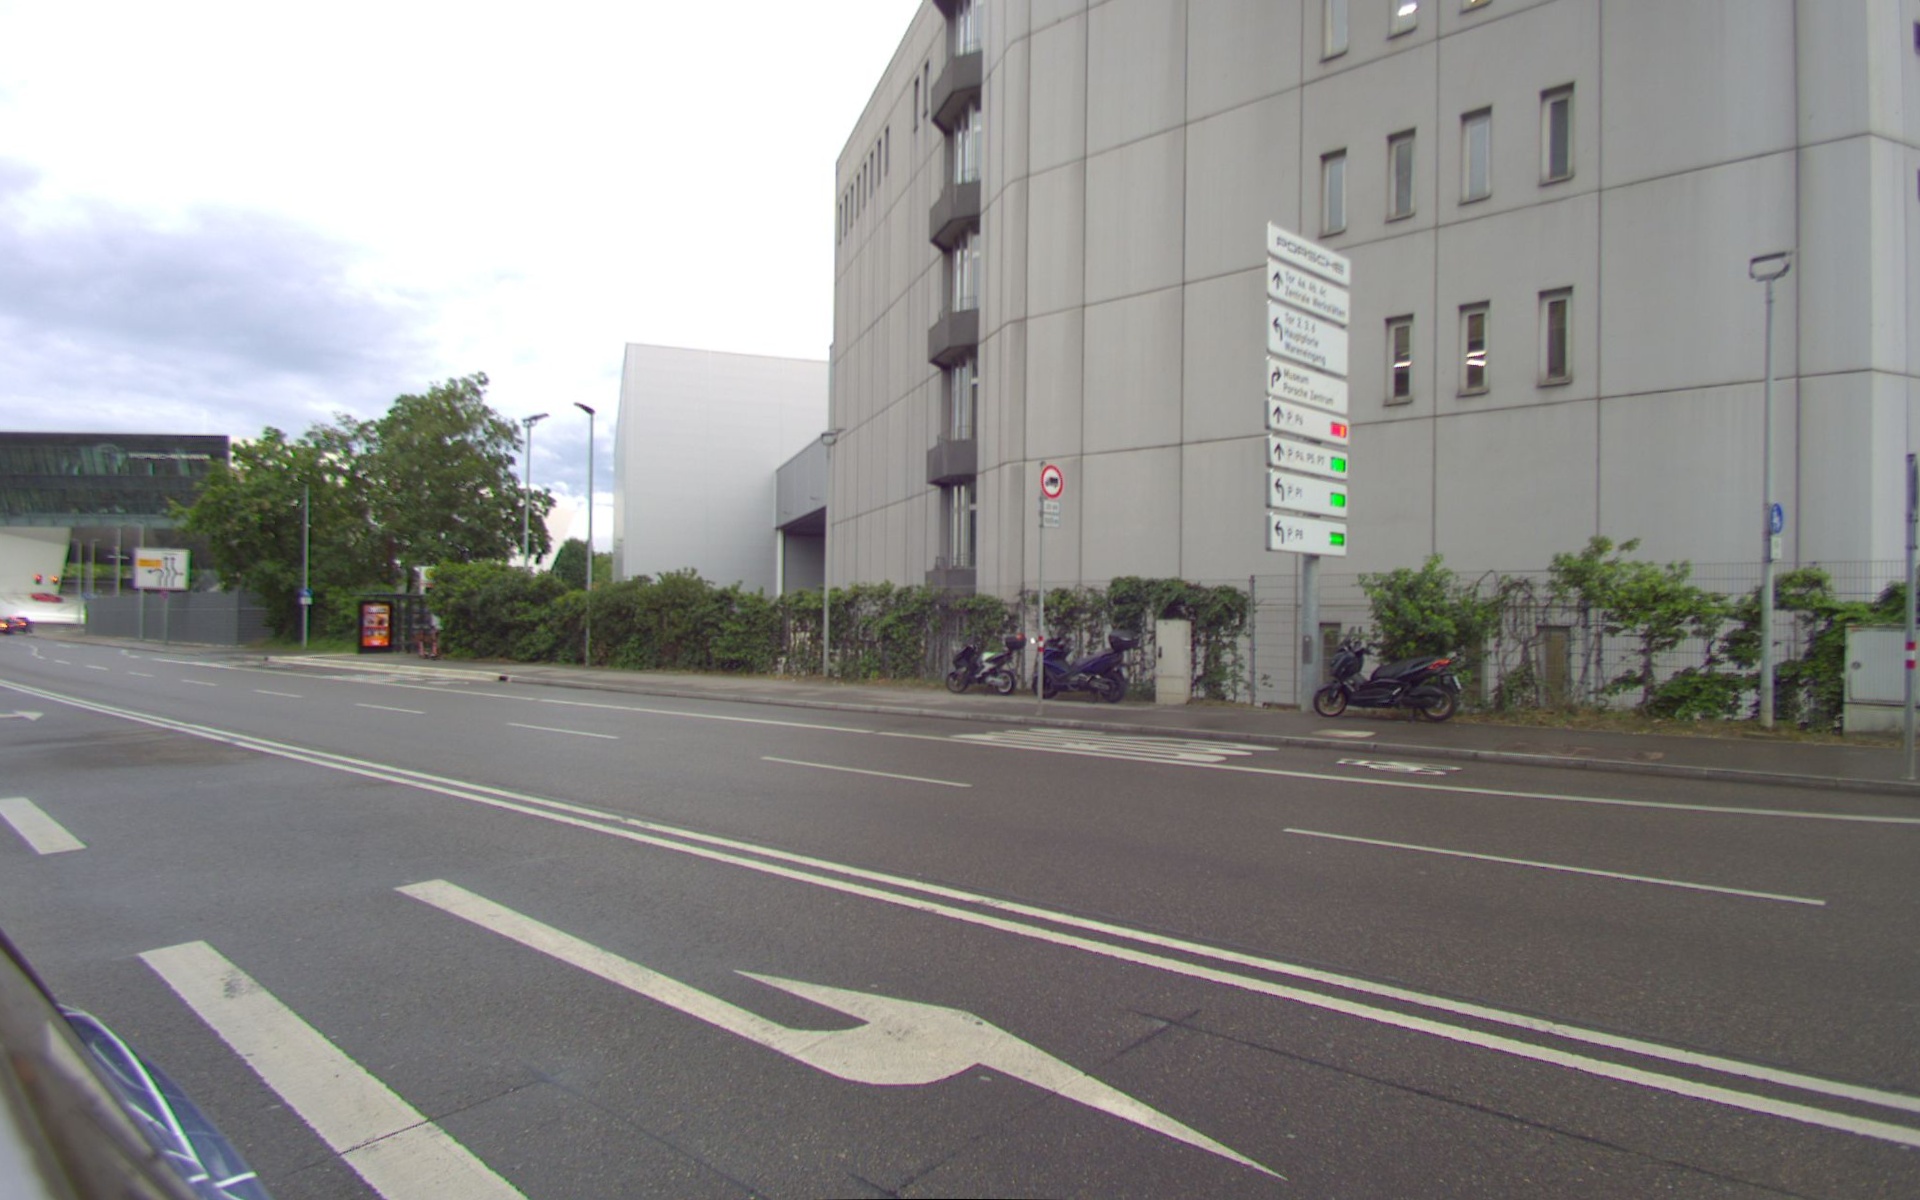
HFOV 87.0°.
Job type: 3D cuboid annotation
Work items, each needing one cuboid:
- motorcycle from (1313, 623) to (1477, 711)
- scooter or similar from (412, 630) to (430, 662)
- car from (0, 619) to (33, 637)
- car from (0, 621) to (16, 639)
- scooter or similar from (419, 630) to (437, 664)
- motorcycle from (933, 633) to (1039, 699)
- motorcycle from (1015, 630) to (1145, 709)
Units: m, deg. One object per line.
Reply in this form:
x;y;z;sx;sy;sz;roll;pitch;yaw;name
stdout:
6.559;0.972;15.336;2.156;1.257;0.777;-1;-2;40;motorcycle
-20.166;1.711;37.861;0.383;1.189;1.253;1;-2;-36;scooter or similar
-88.625;2.632;94.855;1.834;1.663;3.799;1;-2;-30;car
-84.785;2.604;88.690;2.233;1.488;4.059;1;-1;-32;car
-19.323;1.695;36.766;0.373;1.190;1.380;1;-2;-36;scooter or similar
0.504;1.316;20.565;2.156;1.260;0.777;-1;-2;40;motorcycle
2.188;1.244;18.733;2.368;1.358;0.776;-1;-2;40;motorcycle
